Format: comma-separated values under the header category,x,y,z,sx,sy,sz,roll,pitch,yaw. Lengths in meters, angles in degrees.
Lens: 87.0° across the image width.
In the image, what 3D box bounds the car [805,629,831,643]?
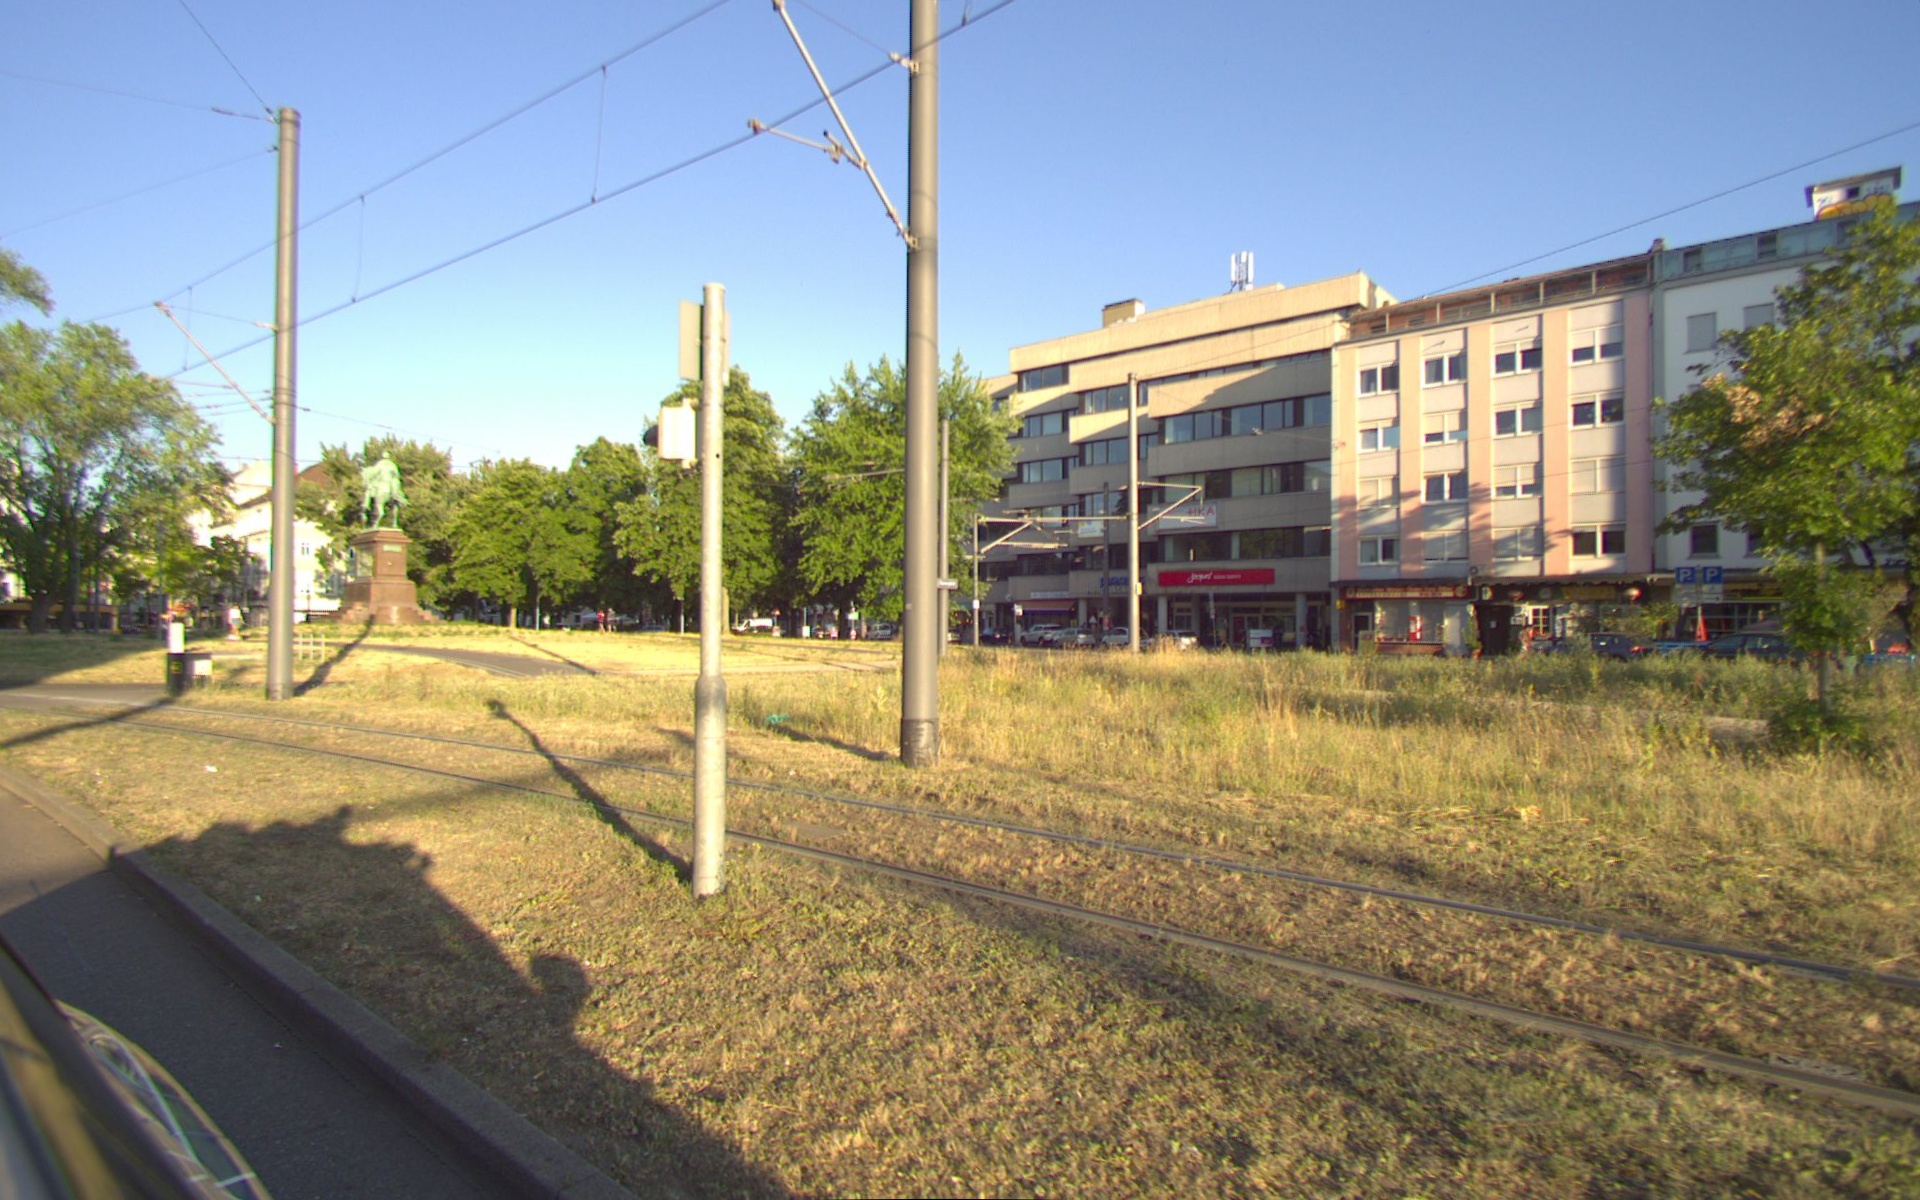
category,x,y,z,sx,sy,sz,roll,pitch,yaw
car,-16.689,4.187,118.729,1.833,1.568,4.081,0,-3,-26

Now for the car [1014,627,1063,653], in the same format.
category,x,y,z,sx,sy,sz,roll,pitch,yaw
car,5.759,2.967,74.794,1.729,1.808,4.222,0,-3,-26

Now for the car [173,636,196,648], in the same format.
category,x,y,z,sx,sy,sz,roll,pitch,yaw
car,-103.540,5.586,135.117,3.967,1.564,1.700,-3,-4,42

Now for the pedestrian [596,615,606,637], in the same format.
category,x,y,z,sx,sy,sz,roll,pitch,yaw
pedestrian,-25.613,1.850,72.148,0.553,1.524,0.447,-3,-4,43

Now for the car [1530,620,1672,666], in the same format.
category,x,y,z,sx,sy,sz,roll,pitch,yaw
car,23.237,1.574,36.862,1.729,1.538,4.013,0,-3,-26

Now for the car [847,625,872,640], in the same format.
category,x,y,z,sx,sy,sz,roll,pitch,yaw
car,-11.262,3.630,113.347,1.766,1.592,4.013,0,-3,-22

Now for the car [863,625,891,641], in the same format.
category,x,y,z,sx,sy,sz,roll,pitch,yaw
car,-8.928,3.574,108.442,1.729,1.676,4.013,0,-3,-26

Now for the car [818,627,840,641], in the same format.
category,x,y,z,sx,sy,sz,roll,pitch,yaw
car,-16.247,4.227,125.059,1.766,1.592,4.013,0,-3,-22

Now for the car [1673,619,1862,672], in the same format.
category,x,y,z,sx,sy,sz,roll,pitch,yaw
car,25.445,1.450,32.068,1.729,1.538,4.305,0,-3,-26

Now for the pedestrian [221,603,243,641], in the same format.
category,x,y,z,sx,sy,sz,roll,pitch,yaw
pedestrian,-33.268,1.018,46.234,0.832,1.703,0.472,-1,-3,28

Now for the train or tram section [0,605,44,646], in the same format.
category,x,y,z,sx,sy,sz,roll,pitch,yaw
train or tram section,-75.847,1.981,77.341,2.883,3.165,12.891,0,-1,-14

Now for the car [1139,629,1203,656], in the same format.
category,x,y,z,sx,sy,sz,roll,pitch,yaw
car,12.404,2.525,59.747,1.729,1.564,4.013,0,-3,-22

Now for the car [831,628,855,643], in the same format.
category,x,y,z,sx,sy,sz,roll,pitch,yaw
car,-13.780,4.199,119.232,1.766,1.592,4.013,0,-3,-22

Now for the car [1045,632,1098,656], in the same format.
category,x,y,z,sx,sy,sz,roll,pitch,yaw
car,7.661,3.052,69.928,1.729,1.564,4.013,0,-3,-26

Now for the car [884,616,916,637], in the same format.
category,x,y,z,sx,sy,sz,roll,pitch,yaw
car,-6.001,2.674,101.158,1.729,1.959,4.222,0,-3,-26

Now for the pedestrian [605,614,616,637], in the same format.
category,x,y,z,sx,sy,sz,roll,pitch,yaw
pedestrian,-25.030,1.831,72.480,0.553,1.593,0.611,-3,-4,43

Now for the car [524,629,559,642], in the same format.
category,x,y,z,sx,sy,sz,roll,pitch,yaw
car,-57.356,4.845,138.714,1.857,1.719,3.949,-3,-3,38

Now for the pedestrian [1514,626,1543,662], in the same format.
category,x,y,z,sx,sy,sz,roll,pitch,yaw
pedestrian,24.674,1.894,43.933,0.852,1.540,1.107,-3,-3,39

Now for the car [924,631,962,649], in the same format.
category,x,y,z,sx,sy,sz,roll,pitch,yaw
car,-1.402,3.321,83.670,1.681,1.401,4.013,0,-3,-24

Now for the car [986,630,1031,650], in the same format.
category,x,y,z,sx,sy,sz,roll,pitch,yaw
car,3.825,3.221,80.956,1.833,1.568,4.081,0,-3,-26

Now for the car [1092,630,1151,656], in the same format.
category,x,y,z,sx,sy,sz,roll,pitch,yaw
car,10.257,2.767,64.427,1.729,1.564,4.013,0,-3,-26

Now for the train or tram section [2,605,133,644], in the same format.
category,x,y,z,sx,sy,sz,roll,pitch,yaw
train or tram section,-78.756,2.142,89.779,2.877,3.165,12.676,0,-1,-12

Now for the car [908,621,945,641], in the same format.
category,x,y,z,sx,sy,sz,roll,pitch,yaw
car,-3.204,2.912,94.996,1.906,1.808,4.222,0,-3,-26
